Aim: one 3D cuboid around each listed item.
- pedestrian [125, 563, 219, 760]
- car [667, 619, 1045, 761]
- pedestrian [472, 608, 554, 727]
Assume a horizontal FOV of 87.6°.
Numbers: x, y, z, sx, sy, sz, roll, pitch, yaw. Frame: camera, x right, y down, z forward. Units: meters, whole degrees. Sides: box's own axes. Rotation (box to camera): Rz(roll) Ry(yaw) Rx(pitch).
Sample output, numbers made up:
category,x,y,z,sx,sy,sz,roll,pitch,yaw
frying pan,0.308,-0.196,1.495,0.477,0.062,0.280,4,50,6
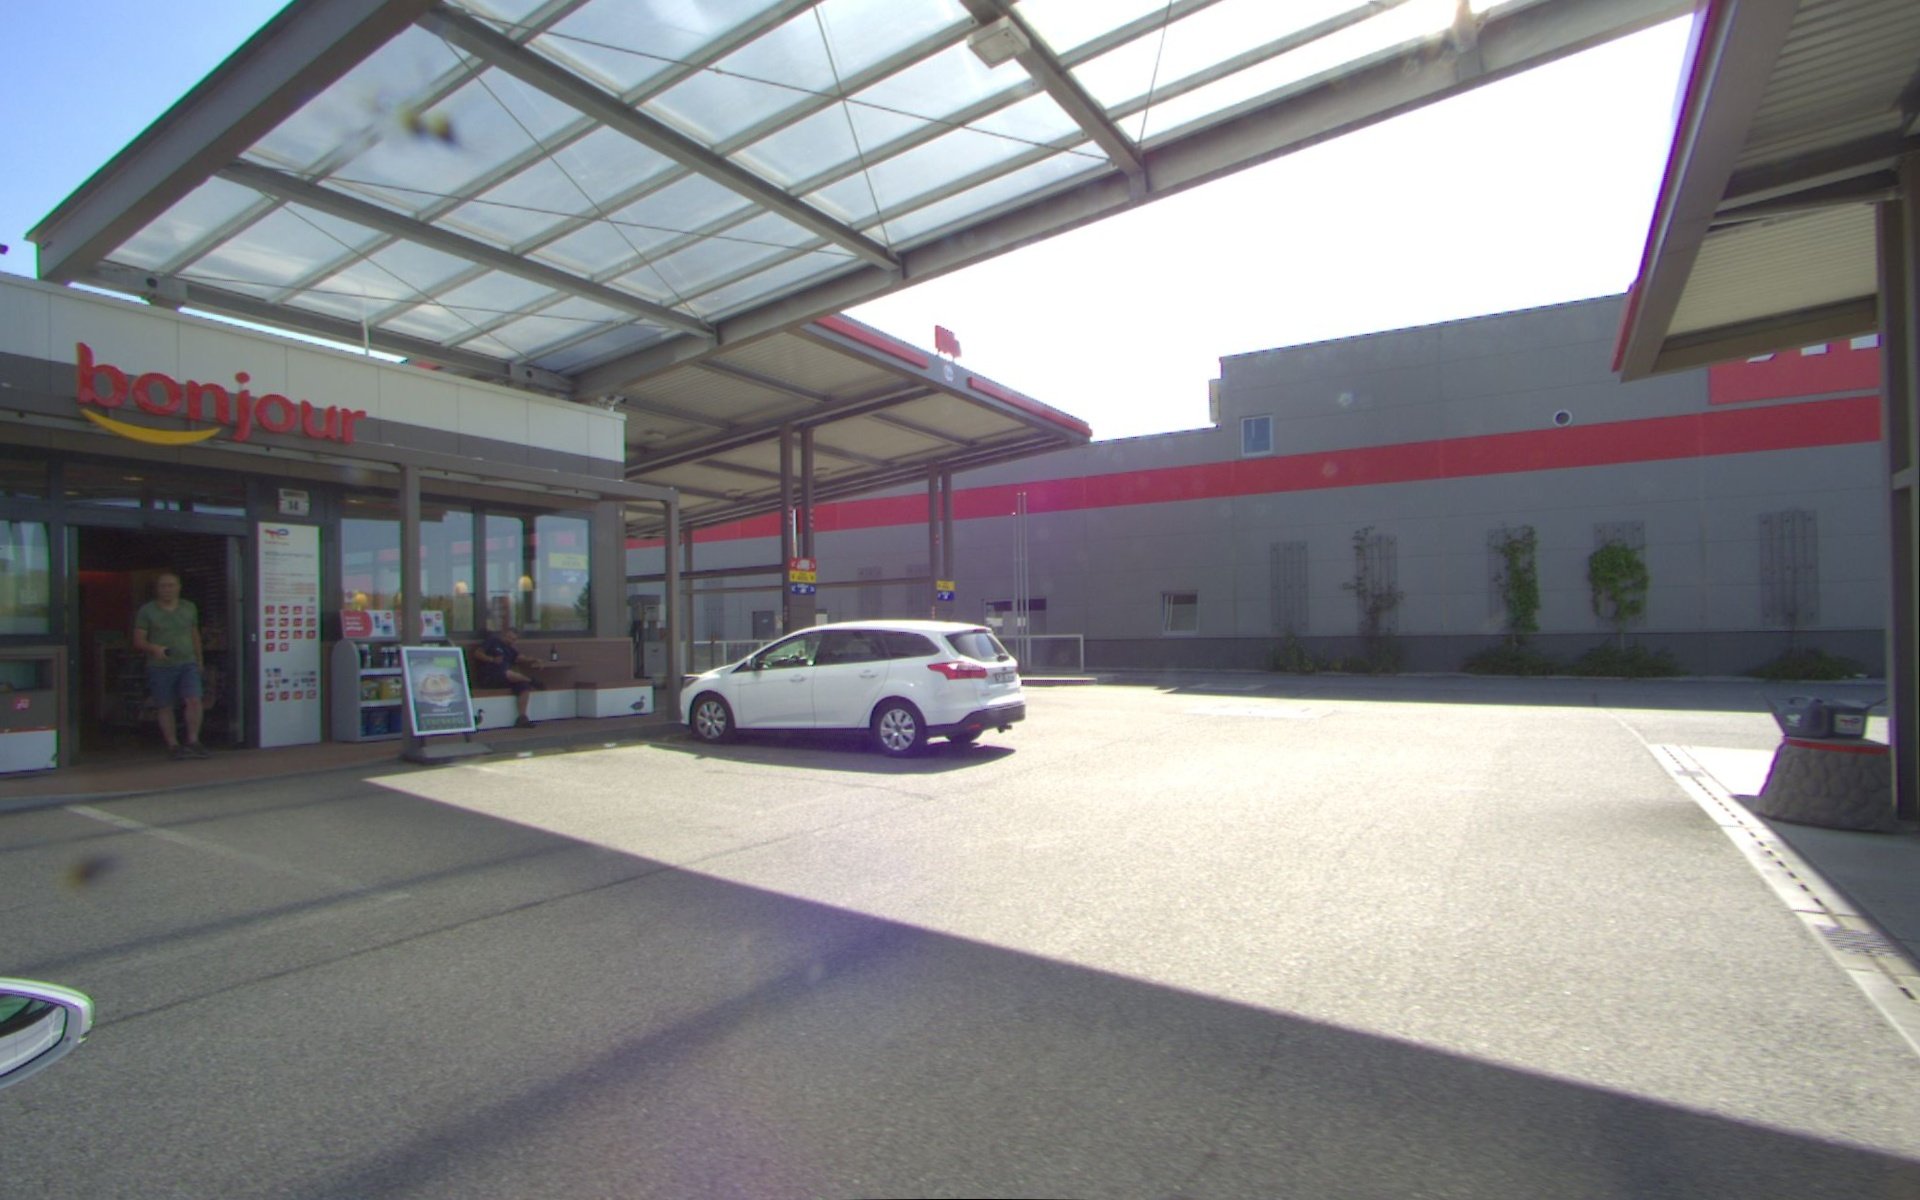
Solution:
category,x,y,z,sx,sy,sz,roll,pitch,yaw
pedestrian,-7.715,0.580,9.795,0.696,1.821,0.855,0,-1,-40
car,-1.273,0.980,12.140,4.250,1.475,1.830,-1,-1,25
pedestrian,-5.657,0.839,12.688,0.662,1.450,0.700,0,-1,30
